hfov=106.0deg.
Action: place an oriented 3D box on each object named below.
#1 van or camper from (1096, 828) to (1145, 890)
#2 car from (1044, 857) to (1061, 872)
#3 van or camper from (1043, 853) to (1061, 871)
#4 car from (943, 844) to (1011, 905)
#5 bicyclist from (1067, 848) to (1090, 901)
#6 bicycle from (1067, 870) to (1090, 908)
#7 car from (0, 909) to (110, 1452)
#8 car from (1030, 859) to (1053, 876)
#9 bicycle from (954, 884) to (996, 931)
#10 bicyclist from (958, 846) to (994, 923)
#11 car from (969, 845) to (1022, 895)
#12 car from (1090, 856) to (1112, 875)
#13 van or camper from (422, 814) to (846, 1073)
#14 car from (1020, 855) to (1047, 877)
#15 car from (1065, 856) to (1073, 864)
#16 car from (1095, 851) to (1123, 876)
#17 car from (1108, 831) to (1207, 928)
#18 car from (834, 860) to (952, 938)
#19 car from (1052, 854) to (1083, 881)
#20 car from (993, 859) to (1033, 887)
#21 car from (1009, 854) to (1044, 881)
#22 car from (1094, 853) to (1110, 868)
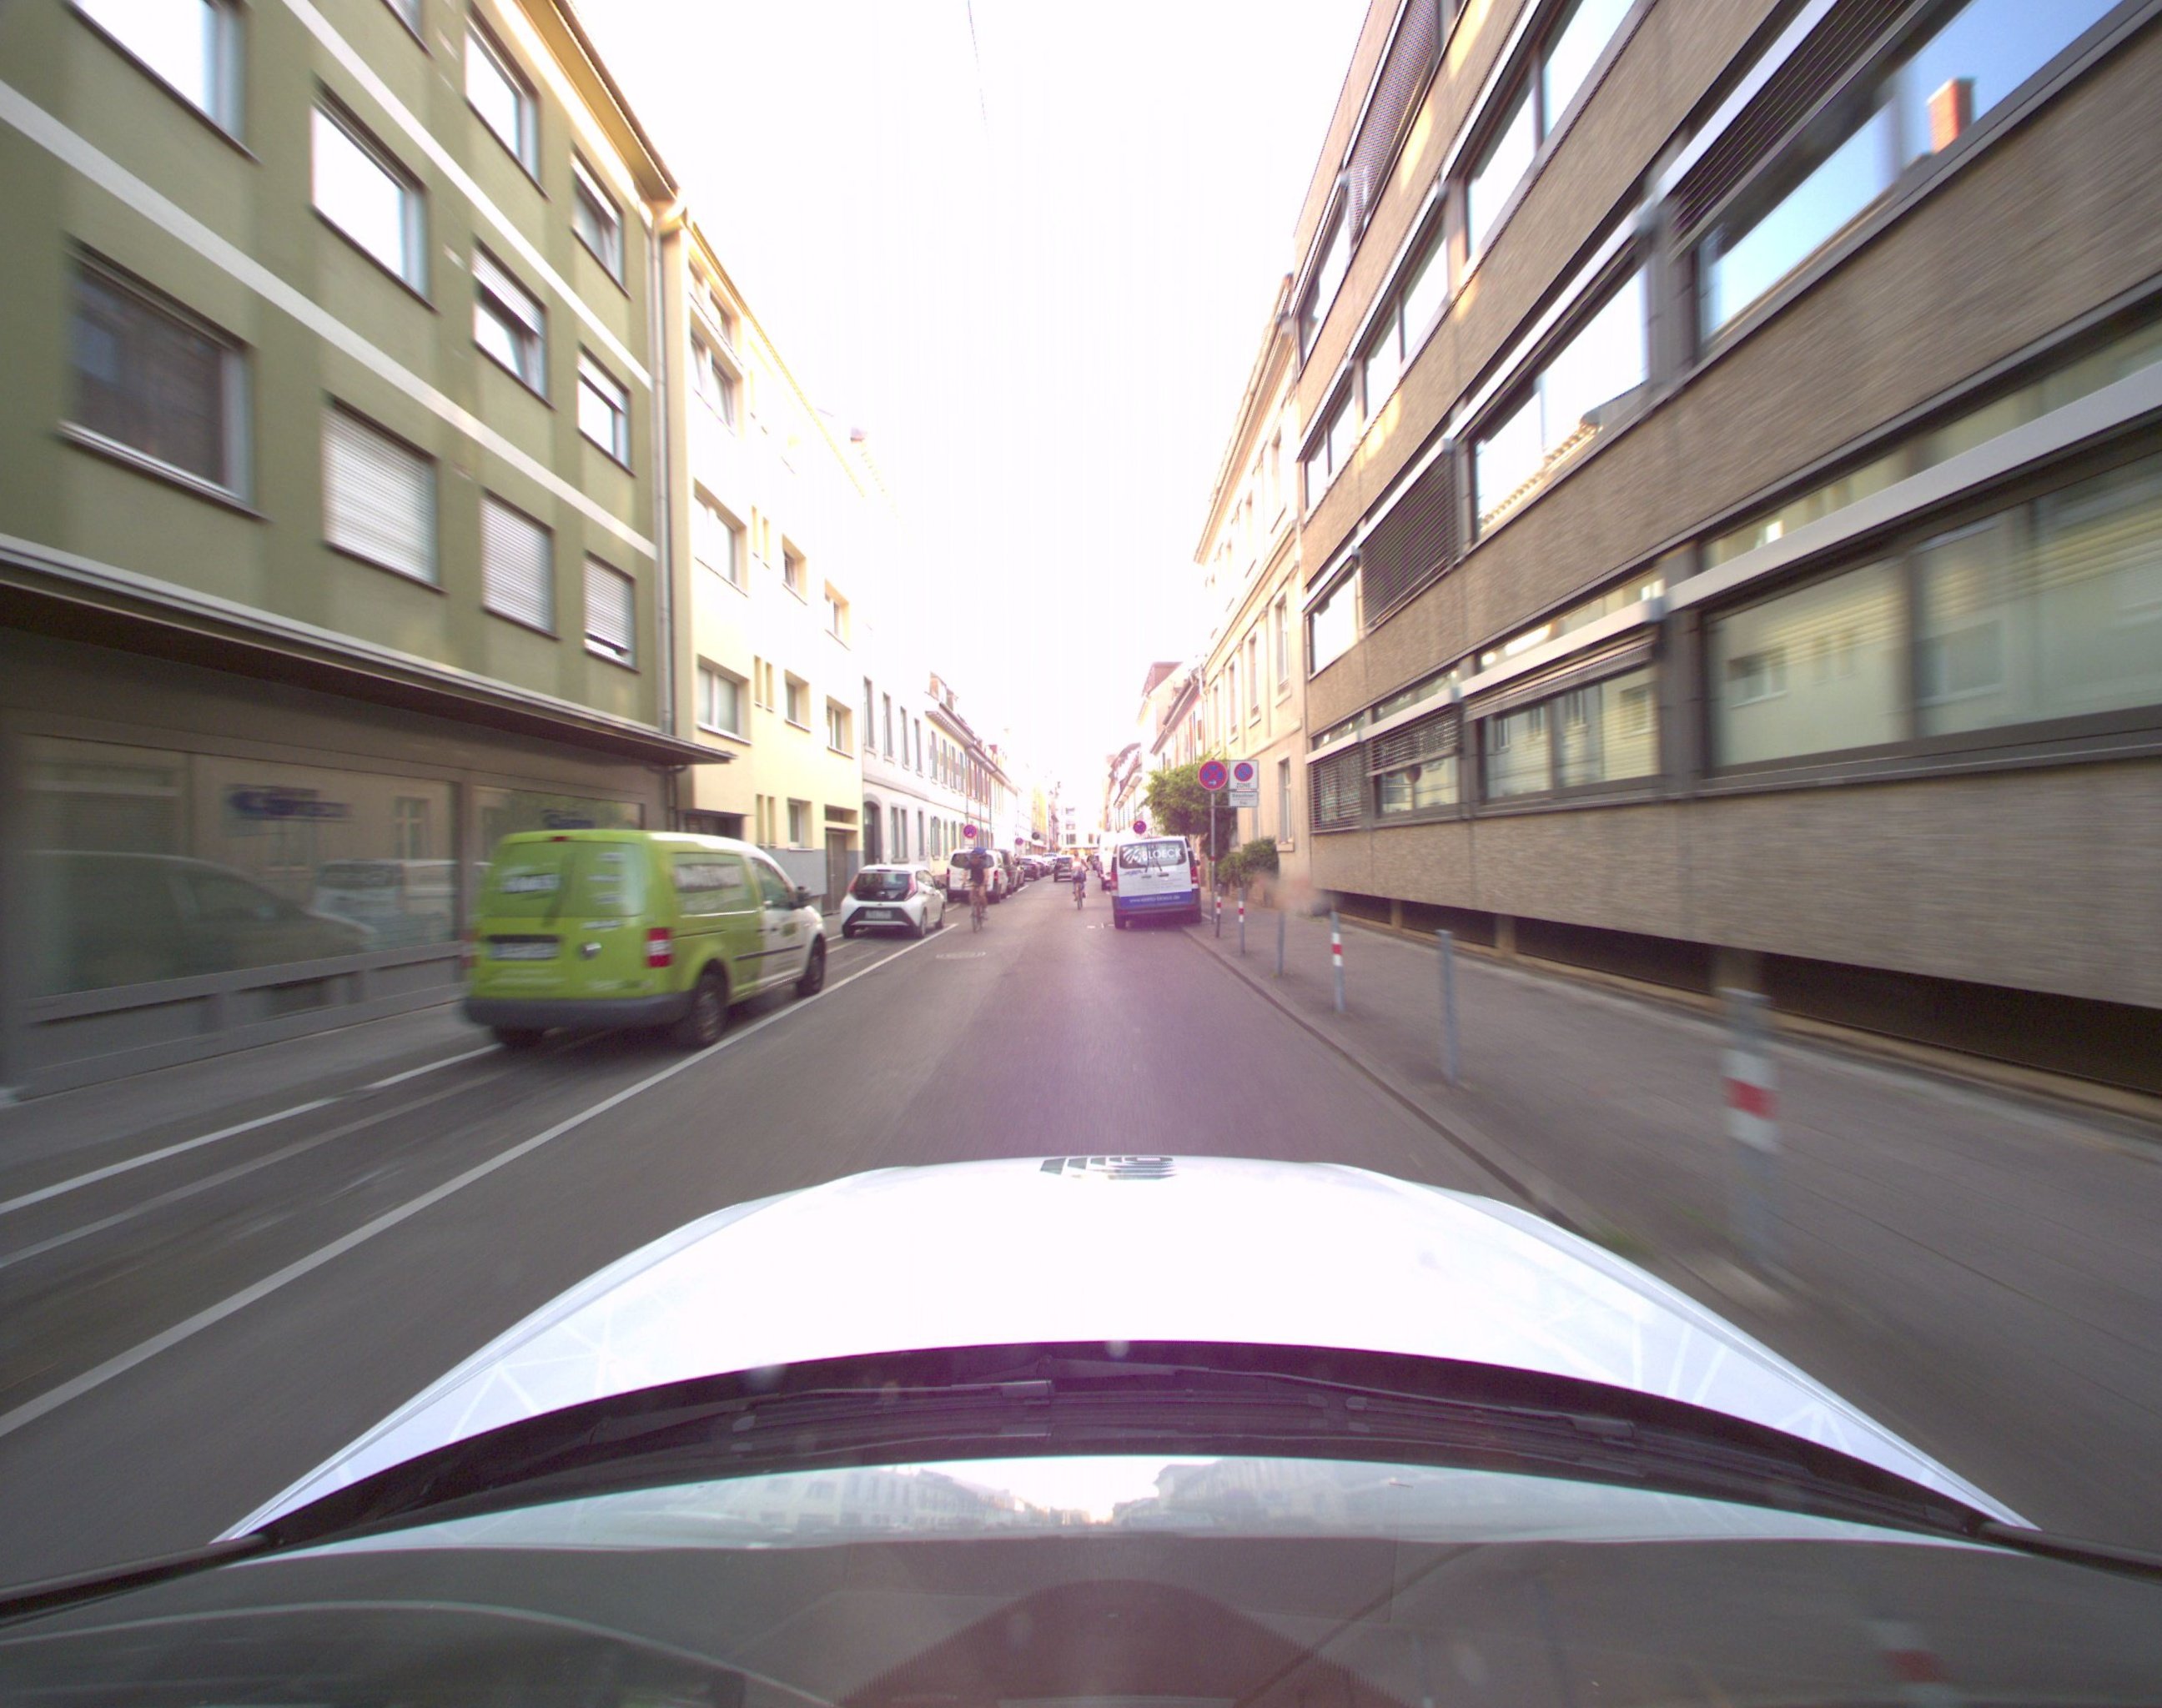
[{"bbox_3d":[1.818,0.226,39.027,2.043,2.637,7.064,-2,0,1],"label":"van or camper"},{"bbox_3d":[-3.107,1.092,88.541,1.648,1.561,3.606,0,0,1],"label":"car"},{"bbox_3d":[-3.286,0.896,94.389,1.838,2.013,4.678,0,0,1],"label":"van or camper"},{"bbox_3d":[-3.763,0.694,30.308,1.857,2.013,5.104,-2,0,-1],"label":"car"},{"bbox_3d":[-0.069,0.616,24.527,0.618,1.574,0.684,-1,-1,1],"label":"bicyclist"},{"bbox_3d":[-0.057,1.036,24.524,0.611,1.082,1.810,-1,0,1],"label":"bicycle"},{"bbox_3d":[-3.640,0.869,0.384,1.619,1.416,3.978,-1,0,-1],"label":"car"},{"bbox_3d":[-3.449,1.139,71.944,1.912,1.434,4.291,0,0,-1],"label":"car"},{"bbox_3d":[-2.302,1.144,17.858,0.632,0.922,1.779,-1,0,1],"label":"bicycle"},{"bbox_3d":[-2.295,0.653,17.879,0.621,1.639,1.081,-1,-1,1],"label":"bicyclist"},{"bbox_3d":[-3.753,0.663,36.515,1.857,2.013,4.812,-2,0,-1],"label":"car"},{"bbox_3d":[1.891,1.034,76.735,1.912,1.738,4.151,0,0,-1],"label":"car"},{"bbox_3d":[-3.897,0.665,8.085,1.766,1.848,4.179,-2,0,1],"label":"van or camper"},{"bbox_3d":[-3.769,0.977,65.753,1.992,1.707,4.533,0,0,-1],"label":"car"},{"bbox_3d":[-2.396,1.126,163.211,1.648,1.561,3.606,0,0,1],"label":"car"},{"bbox_3d":[2.050,0.673,59.204,1.813,1.530,5.073,-5,0,2],"label":"car"},{"bbox_3d":[1.671,0.512,19.094,1.928,1.898,5.280,-2,0,2],"label":"car"},{"bbox_3d":[-3.884,0.882,17.398,1.656,1.449,3.520,2,0,0],"label":"car"},{"bbox_3d":[-0.795,0.819,50.275,1.813,1.618,3.999,0,0,0],"label":"car"},{"bbox_3d":[-3.642,0.996,44.305,1.759,1.401,4.263,-1,0,1],"label":"car"},{"bbox_3d":[-3.587,0.857,54.344,1.796,1.676,4.491,-2,0,2],"label":"car"},{"bbox_3d":[2.286,0.705,88.900,1.648,1.561,3.606,0,0,1],"label":"car"}]
